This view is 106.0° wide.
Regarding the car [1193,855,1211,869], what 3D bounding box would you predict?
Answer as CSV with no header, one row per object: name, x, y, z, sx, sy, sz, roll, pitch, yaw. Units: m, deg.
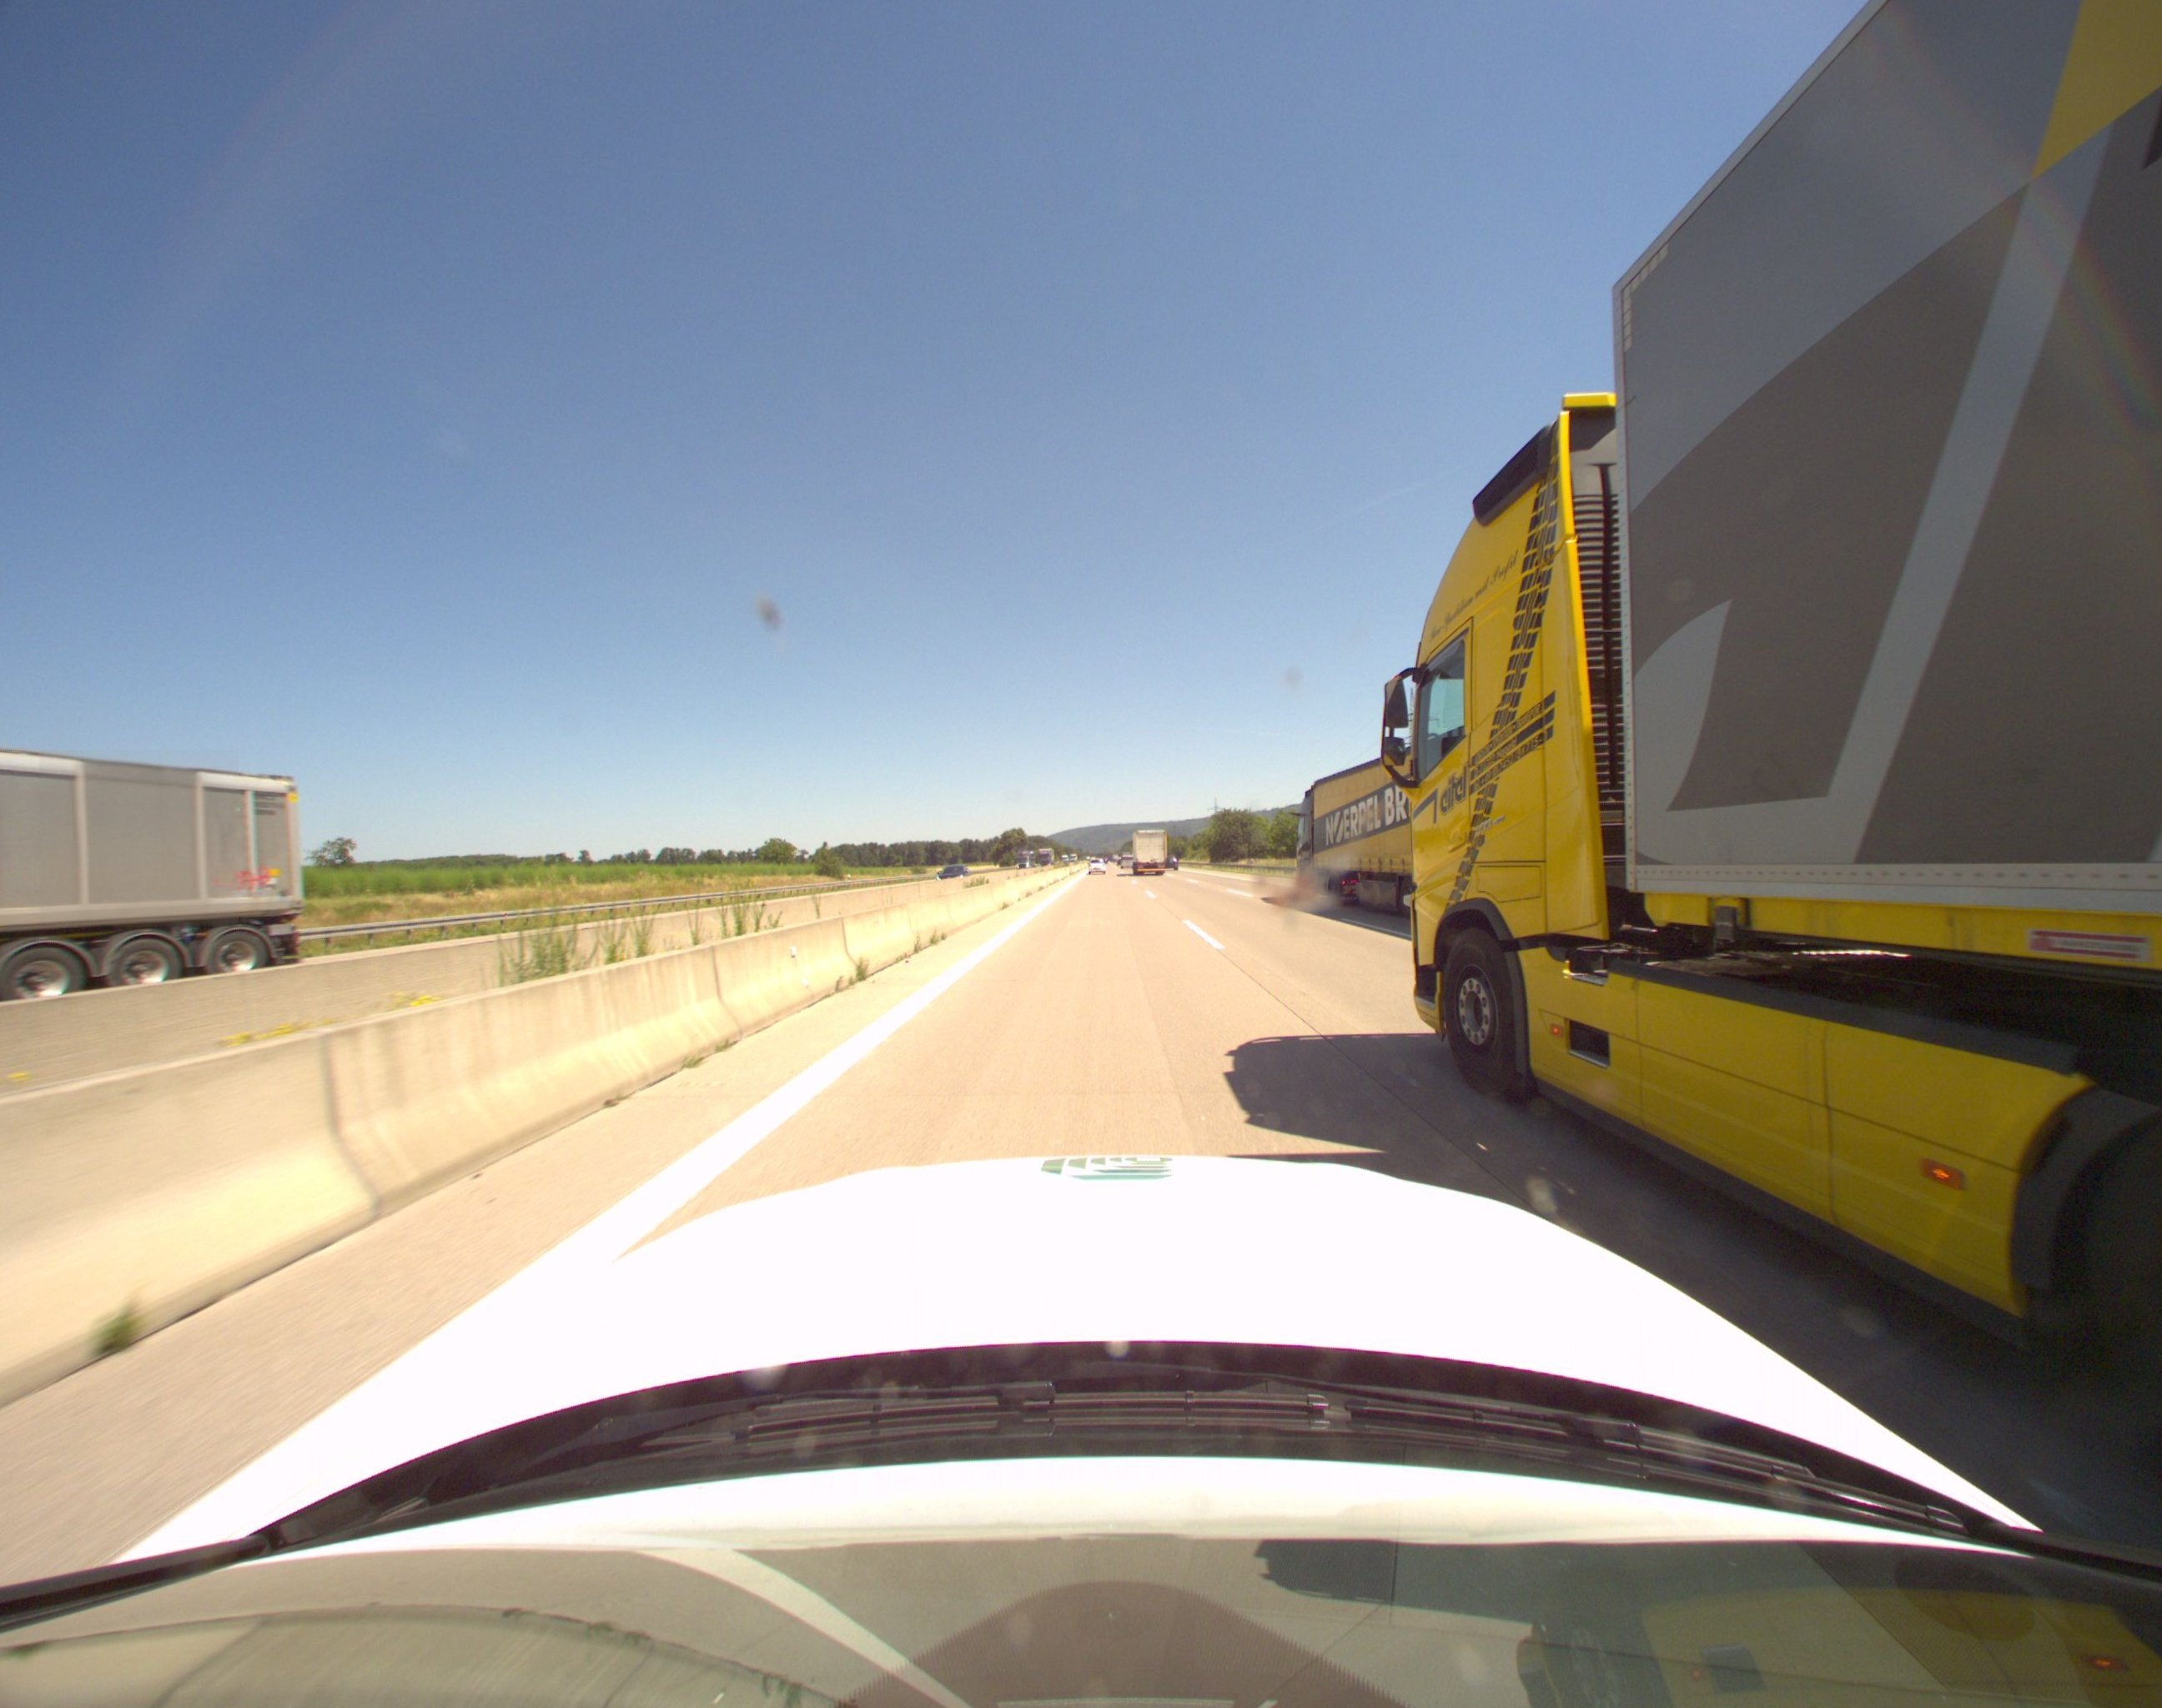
car,16.900,1.090,113.994,1.986,1.849,4.000,1,0,1

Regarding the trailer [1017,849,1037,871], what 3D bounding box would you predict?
trailer,-11.687,1.408,178.822,3.220,4.606,12.296,0,-1,1

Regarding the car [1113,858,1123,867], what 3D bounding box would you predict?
car,7.546,1.732,167.275,1.986,1.849,4.000,1,0,1

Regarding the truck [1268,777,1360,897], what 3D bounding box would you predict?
truck,8.781,-0.574,31.231,1.986,4.193,5.707,0,-1,2

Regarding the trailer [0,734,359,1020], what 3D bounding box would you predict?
trailer,-16.942,0.415,11.328,2.970,4.090,11.608,-4,-1,2

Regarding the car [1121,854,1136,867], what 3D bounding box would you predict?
car,6.809,0.993,117.598,1.986,1.849,4.000,0,-1,1

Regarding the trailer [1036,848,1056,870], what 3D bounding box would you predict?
trailer,-7.609,1.158,181.226,3.256,4.476,14.455,-3,-1,1

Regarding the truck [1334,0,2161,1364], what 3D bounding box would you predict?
truck,3.291,-0.700,4.885,1.986,4.254,5.195,0,-1,1

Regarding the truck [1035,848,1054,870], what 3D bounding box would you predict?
truck,-7.797,1.102,174.276,3.256,4.476,7.191,-3,-1,1

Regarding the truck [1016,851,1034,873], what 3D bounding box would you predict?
truck,-11.857,1.740,171.851,3.220,4.607,6.252,0,-1,1

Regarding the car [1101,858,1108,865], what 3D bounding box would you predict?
car,6.542,2.057,227.305,1.986,1.849,4.000,1,0,1

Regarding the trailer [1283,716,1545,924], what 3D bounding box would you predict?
trailer,8.568,-0.632,23.843,1.986,4.193,14.750,0,0,2

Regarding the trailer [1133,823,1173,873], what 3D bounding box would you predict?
trailer,5.909,-0.429,68.388,2.572,3.878,10.373,0,-1,1

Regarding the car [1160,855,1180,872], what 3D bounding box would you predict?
car,10.470,1.107,96.046,1.986,1.849,4.000,1,0,1

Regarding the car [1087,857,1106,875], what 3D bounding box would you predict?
car,1.564,1.182,80.966,1.813,1.662,4.000,-1,-1,0

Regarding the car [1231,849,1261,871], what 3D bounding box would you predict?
car,14.995,0.556,74.173,1.986,1.849,4.000,1,0,1

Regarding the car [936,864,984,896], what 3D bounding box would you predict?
car,-7.438,1.564,50.660,1.986,1.862,5.468,0,0,2

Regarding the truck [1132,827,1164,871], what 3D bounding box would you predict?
truck,6.007,-0.404,73.751,2.572,3.878,4.984,0,-1,1
